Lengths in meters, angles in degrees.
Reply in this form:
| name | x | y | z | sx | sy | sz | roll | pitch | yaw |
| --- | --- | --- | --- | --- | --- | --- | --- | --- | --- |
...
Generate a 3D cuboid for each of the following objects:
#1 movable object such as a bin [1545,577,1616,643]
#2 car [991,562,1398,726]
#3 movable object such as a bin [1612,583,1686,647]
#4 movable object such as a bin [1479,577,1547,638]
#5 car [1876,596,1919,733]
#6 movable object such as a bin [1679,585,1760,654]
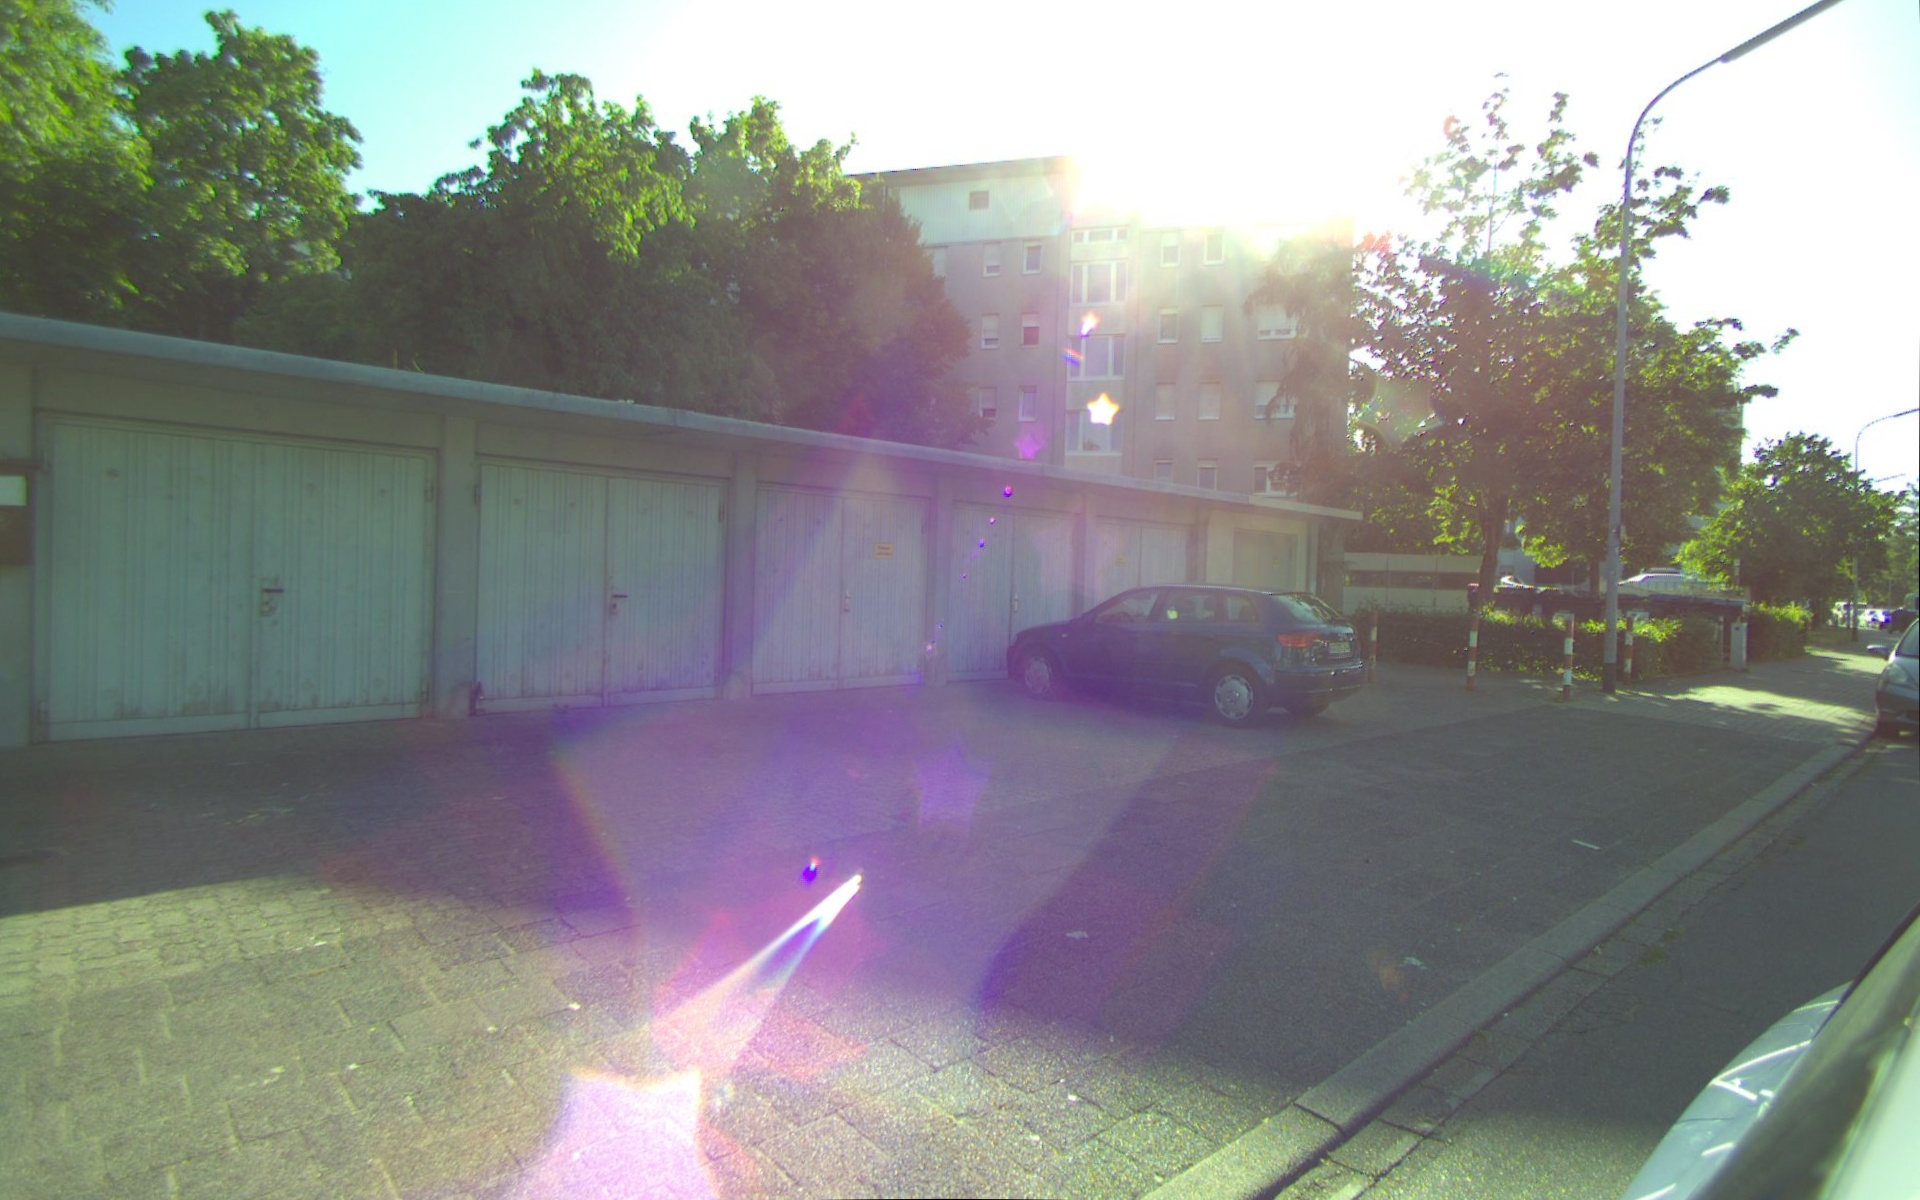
| name | x | y | z | sx | sy | sz | roll | pitch | yaw |
| --- | --- | --- | --- | --- | --- | --- | --- | --- | --- |
| movable object such as a bin | 15.445 | 0.233 | 25.194 | 1.324 | 1.556 | 1.014 | 2 | 1 | 42 |
| car | 2.483 | 0.349 | 11.462 | 1.788 | 1.513 | 4.185 | 0 | 1 | -45 |
| movable object such as a bin | 16.509 | 0.335 | 24.256 | 1.324 | 1.449 | 1.014 | 2 | 1 | 42 |
| movable object such as a bin | 14.306 | 0.182 | 26.182 | 1.321 | 1.499 | 1.014 | 2 | 1 | 42 |
| car | 12.424 | 0.748 | 12.069 | 3.729 | 1.513 | 1.807 | 0 | 1 | -42 |
| movable object such as a bin | 17.467 | 0.430 | 23.281 | 1.324 | 1.445 | 1.054 | 6 | 3 | 42 |
